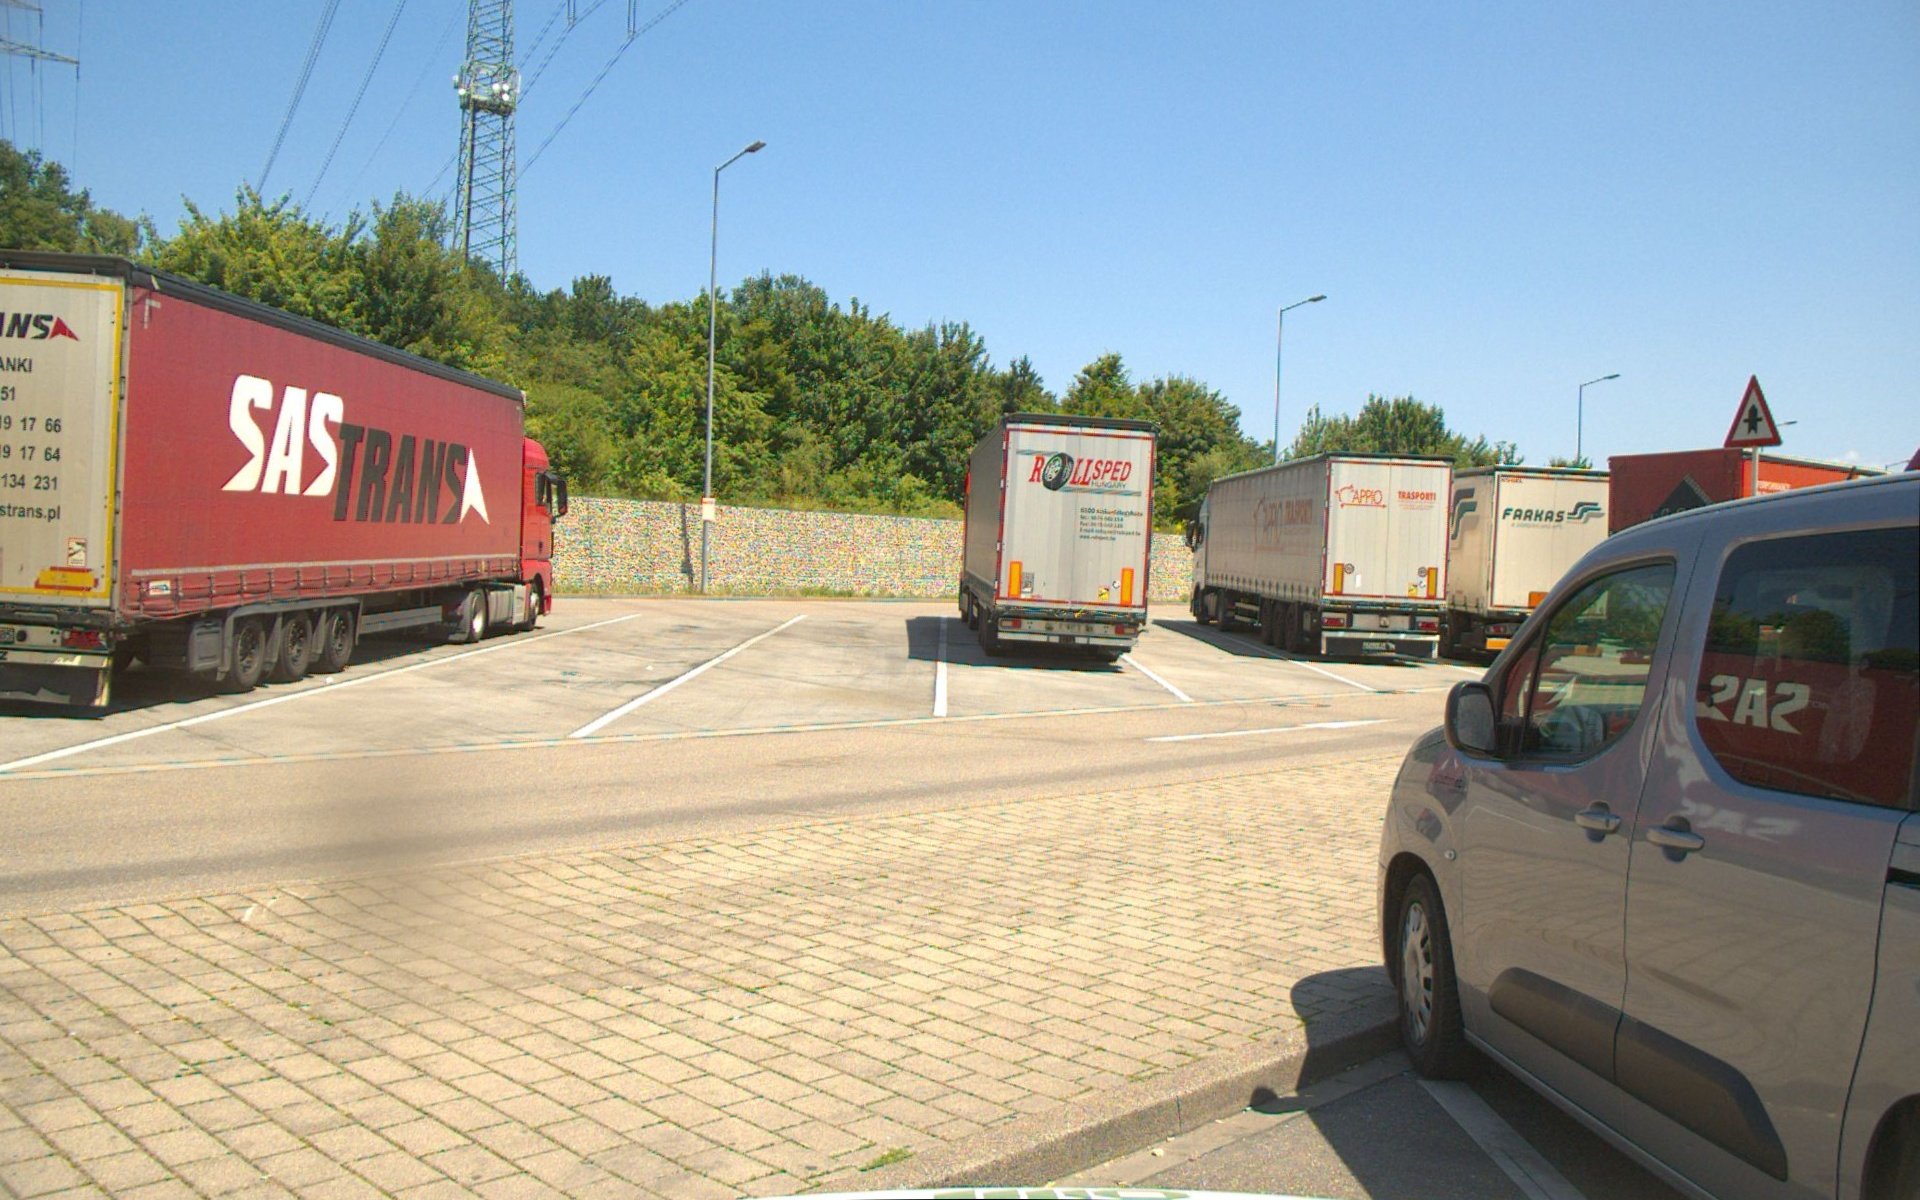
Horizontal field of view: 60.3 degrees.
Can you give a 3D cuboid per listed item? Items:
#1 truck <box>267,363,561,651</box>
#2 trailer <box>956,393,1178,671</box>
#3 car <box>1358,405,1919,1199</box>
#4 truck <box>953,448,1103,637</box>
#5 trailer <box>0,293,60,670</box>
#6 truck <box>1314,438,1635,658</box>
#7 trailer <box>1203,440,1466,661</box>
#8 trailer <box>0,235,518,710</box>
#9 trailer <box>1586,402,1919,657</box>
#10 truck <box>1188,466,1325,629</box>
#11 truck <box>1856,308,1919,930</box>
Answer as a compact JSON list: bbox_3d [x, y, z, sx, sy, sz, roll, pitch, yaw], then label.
[{"bbox_3d":[-8.782,-1.420,27.513,2.687,4.152,6.828,1,1,-1],"label":"truck"},{"bbox_3d":[1.693,-1.313,32.651,3.008,4.301,12.805,2,2,-2],"label":"trailer"},{"bbox_3d":[2.423,0.558,3.789,1.790,1.784,3.997,1,1,-4],"label":"car"},{"bbox_3d":[1.461,-1.378,39.417,2.965,3.997,6.845,2,2,-2],"label":"truck"},{"bbox_3d":[-12.417,-1.309,15.422,2.689,4.337,9.733,1,1,0],"label":"trailer"},{"bbox_3d":[11.722,-1.181,39.962,2.846,4.195,14.525,3,1,-1],"label":"truck"},{"bbox_3d":[8.200,-1.084,38.582,2.818,4.196,13.569,1,1,-1],"label":"trailer"},{"bbox_3d":[-8.689,-1.259,21.072,2.694,4.128,13.285,1,1,-1],"label":"trailer"},{"bbox_3d":[15.771,-1.223,31.816,8.591,4.332,2.806,0,1,-37],"label":"trailer"},{"bbox_3d":[8.067,-1.409,45.581,2.701,4.196,5.283,1,1,-1],"label":"truck"},{"bbox_3d":[4.970,0.130,4.909,1.952,2.669,5.305,1,1,3],"label":"truck"}]
